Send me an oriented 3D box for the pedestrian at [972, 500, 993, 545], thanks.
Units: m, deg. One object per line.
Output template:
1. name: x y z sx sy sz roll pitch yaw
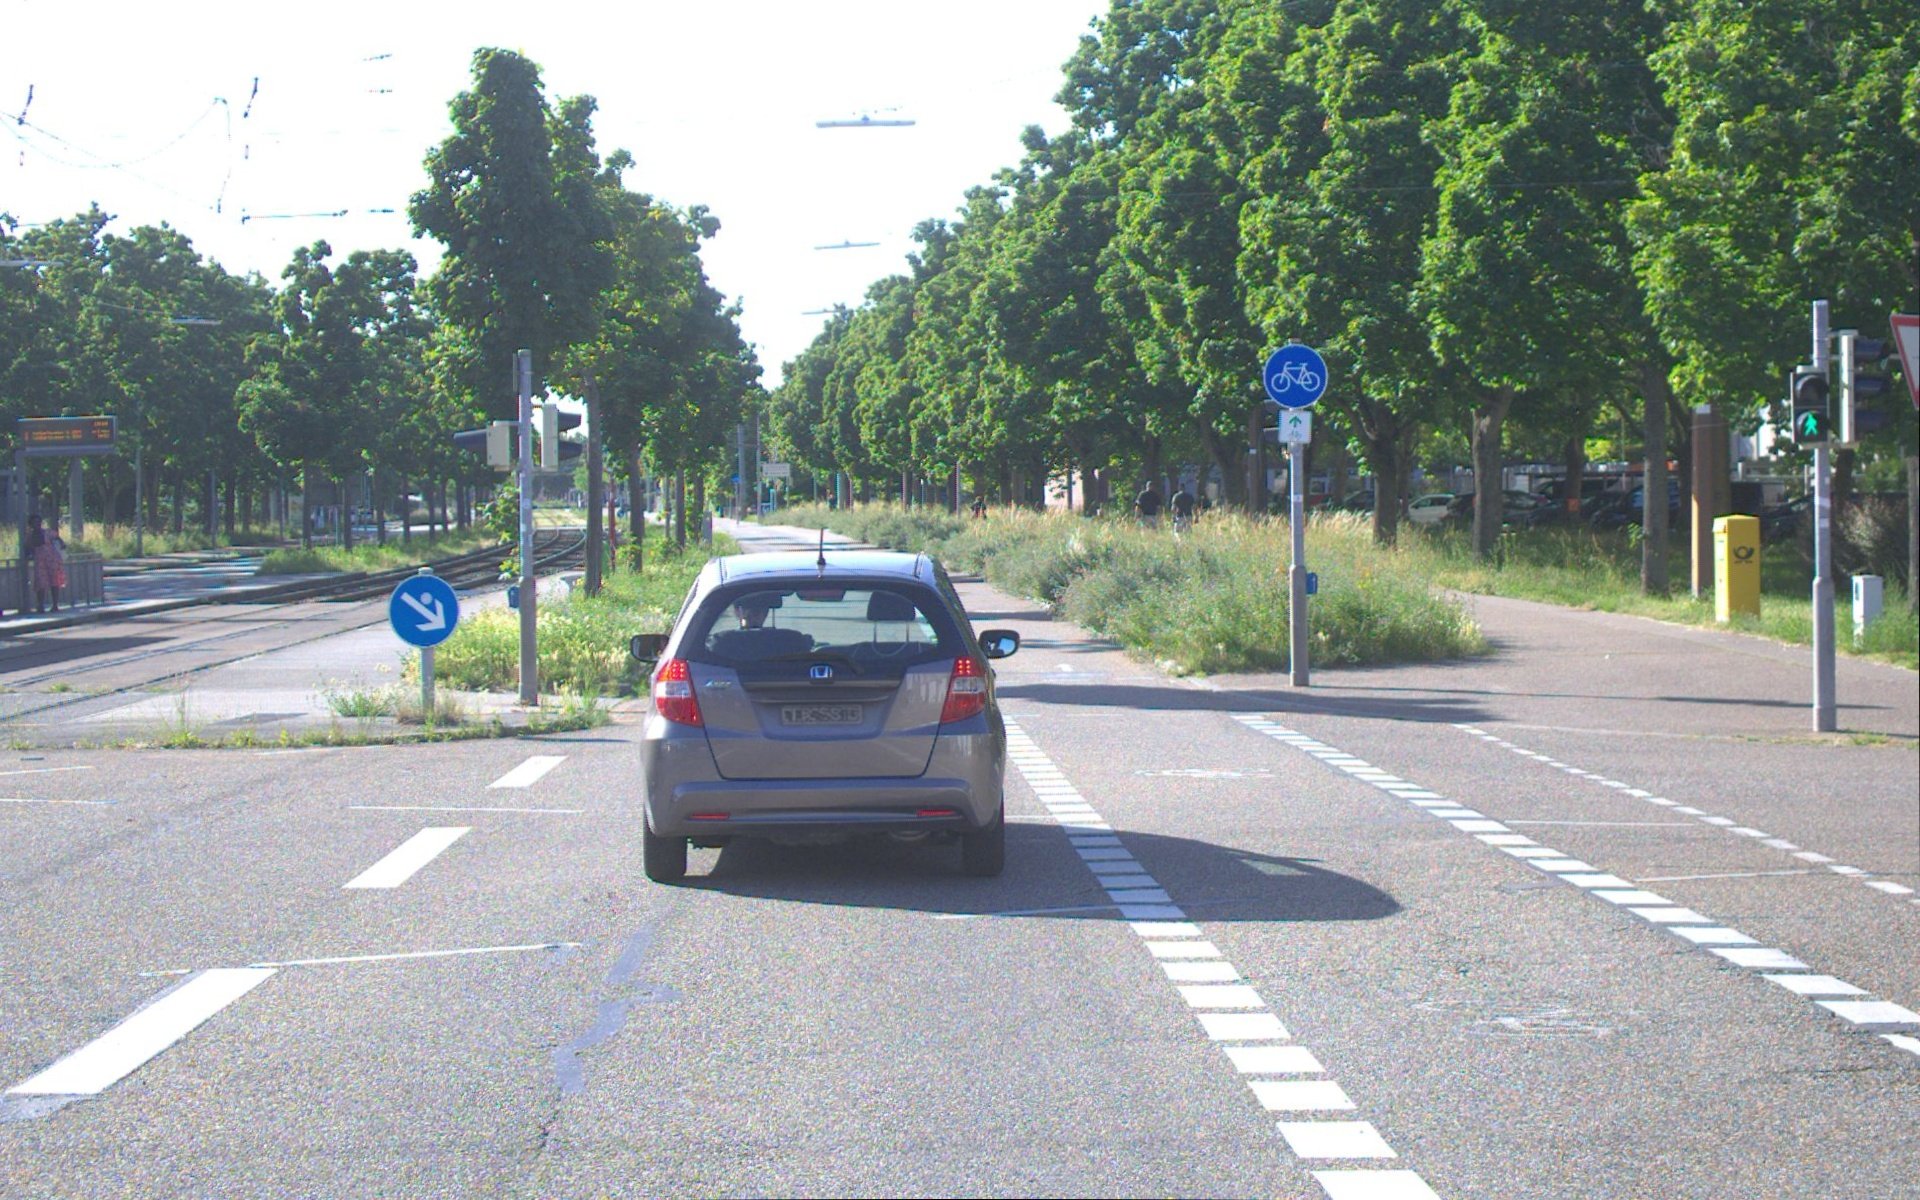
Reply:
1. pedestrian: 0.854 -2.904 129.675 0.725 1.685 0.821 -1 1 -3

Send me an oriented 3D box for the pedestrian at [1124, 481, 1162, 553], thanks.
1. pedestrian: 4.825 -2.194 90.731 0.882 1.877 0.875 -1 1 -4

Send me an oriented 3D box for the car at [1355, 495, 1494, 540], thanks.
1. car: 16.875 -2.991 125.025 4.630 1.550 2.001 -1 1 -6

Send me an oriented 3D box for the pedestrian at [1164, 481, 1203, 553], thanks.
1. pedestrian: 5.901 -2.191 90.759 0.882 1.877 0.875 -1 1 -4

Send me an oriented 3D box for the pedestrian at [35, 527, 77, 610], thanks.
1. pedestrian: -15.911 -0.551 60.525 0.544 1.442 0.559 -2 1 -1

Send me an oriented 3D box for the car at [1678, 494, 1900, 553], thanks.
1. car: 19.572 -1.805 81.222 4.679 1.322 2.088 0 2 34

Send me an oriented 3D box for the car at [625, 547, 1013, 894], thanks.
1. car: -0.641 0.520 16.931 1.701 1.518 3.709 0 0 -1
